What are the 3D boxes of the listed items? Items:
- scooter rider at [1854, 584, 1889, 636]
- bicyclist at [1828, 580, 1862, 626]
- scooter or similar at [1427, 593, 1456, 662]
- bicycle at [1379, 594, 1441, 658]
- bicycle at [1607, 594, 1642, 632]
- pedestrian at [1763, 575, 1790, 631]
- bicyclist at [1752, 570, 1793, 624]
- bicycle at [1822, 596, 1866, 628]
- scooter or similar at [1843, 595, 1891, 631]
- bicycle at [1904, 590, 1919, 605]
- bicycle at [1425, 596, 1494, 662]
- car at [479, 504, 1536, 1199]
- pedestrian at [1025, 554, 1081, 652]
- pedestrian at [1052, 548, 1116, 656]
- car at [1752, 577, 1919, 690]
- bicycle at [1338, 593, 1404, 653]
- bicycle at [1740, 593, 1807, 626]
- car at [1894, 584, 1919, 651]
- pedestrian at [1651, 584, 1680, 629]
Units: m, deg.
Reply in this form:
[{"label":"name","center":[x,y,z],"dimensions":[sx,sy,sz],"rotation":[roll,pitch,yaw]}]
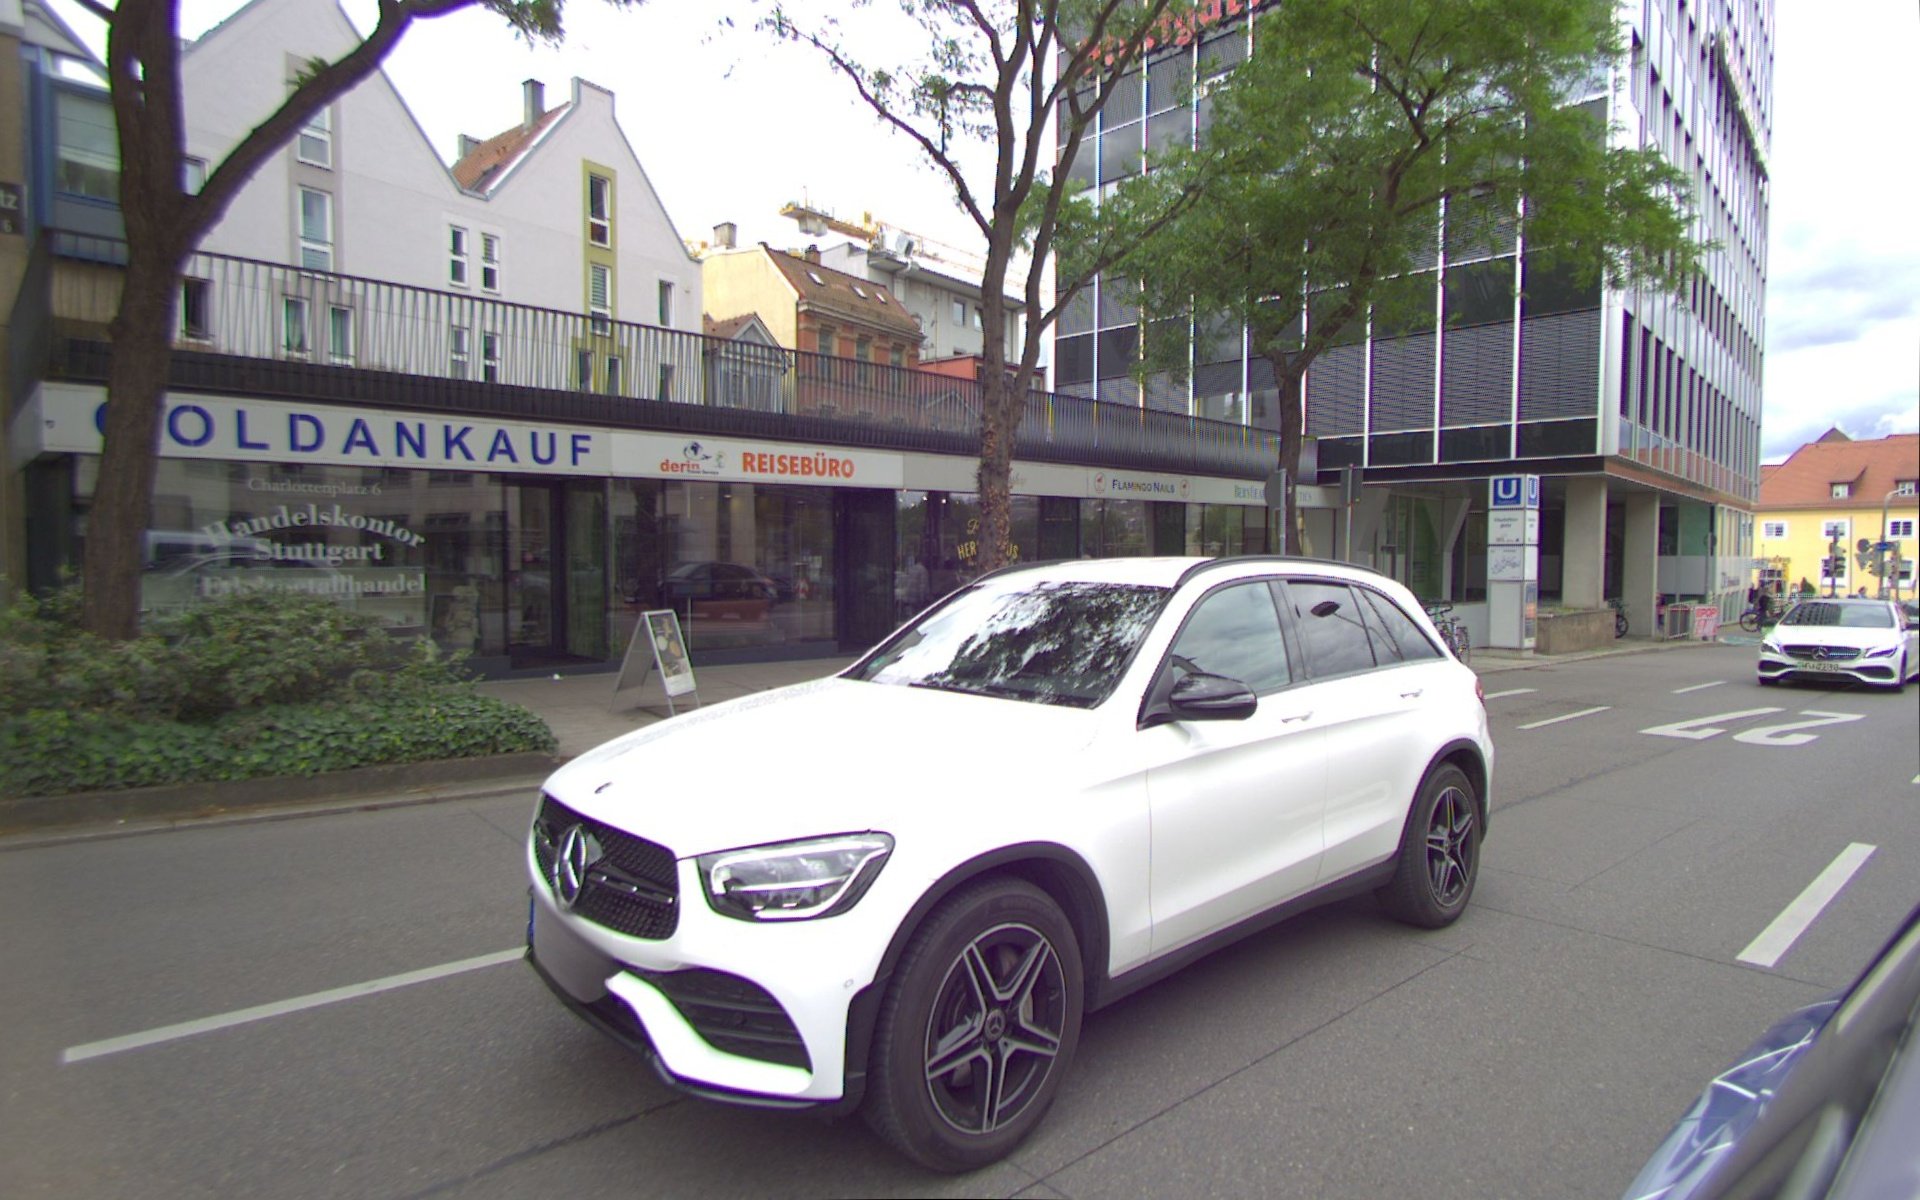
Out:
[{"label":"scooter rider","center":[32.537,0.347,36.138],"dimensions":[0.583,1.830,0.642],"rotation":[2,3,8]},{"label":"bicyclist","center":[31.363,0.100,35.862],"dimensions":[0.559,1.568,0.841],"rotation":[2,3,20]},{"label":"scooter or similar","center":[9.285,0.511,19.499],"dimensions":[0.305,1.267,0.984],"rotation":[2,2,36]},{"label":"bicycle","center":[8.746,0.477,19.626],"dimensions":[0.489,1.146,1.858],"rotation":[2,2,43]},{"label":"bicycle","center":[19.654,0.369,29.939],"dimensions":[0.708,1.061,1.472],"rotation":[2,2,28]},{"label":"pedestrian","center":[26.427,0.090,32.752],"dimensions":[0.525,1.732,0.741],"rotation":[4,5,44]},{"label":"bicyclist","center":[29.046,-0.110,36.197],"dimensions":[0.661,1.868,0.816],"rotation":[1,3,-16]},{"label":"bicycle","center":[31.391,0.413,35.960],"dimensions":[0.574,1.039,1.659],"rotation":[2,3,20]},{"label":"scooter or similar","center":[32.559,0.457,36.329],"dimensions":[0.583,1.190,1.321],"rotation":[2,3,8]},{"label":"bicycle","center":[73.433,-0.172,77.307],"dimensions":[0.609,1.099,1.774],"rotation":[0,2,-31]},{"label":"bicycle","center":[9.309,0.512,18.823],"dimensions":[1.812,1.146,0.490],"rotation":[-1,2,-42]},{"label":"car","center":[0.556,0.554,4.160],"dimensions":[4.259,1.666,1.806],"rotation":[-1,4,-41]},{"label":"pedestrian","center":[1.625,0.039,17.691],"dimensions":[0.596,1.649,0.745],"rotation":[3,3,44]},{"label":"pedestrian","center":[2.117,0.015,17.257],"dimensions":[0.596,1.775,0.926],"rotation":[3,3,44]},{"label":"car","center":[14.770,0.445,16.667],"dimensions":[4.571,1.589,1.869],"rotation":[0,2,-41]},{"label":"bicycle","center":[8.304,0.434,20.423],"dimensions":[1.659,1.146,0.490],"rotation":[0,2,-40]},{"label":"bicycle","center":[29.036,0.334,36.154],"dimensions":[0.666,1.019,1.772],"rotation":[3,2,-15]},{"label":"car","center":[24.374,0.439,24.539],"dimensions":[3.691,1.551,1.709],"rotation":[0,2,-34]},{"label":"pedestrian","center":[23.750,0.215,34.073],"dimensions":[0.604,1.460,0.825],"rotation":[4,3,45]}]
